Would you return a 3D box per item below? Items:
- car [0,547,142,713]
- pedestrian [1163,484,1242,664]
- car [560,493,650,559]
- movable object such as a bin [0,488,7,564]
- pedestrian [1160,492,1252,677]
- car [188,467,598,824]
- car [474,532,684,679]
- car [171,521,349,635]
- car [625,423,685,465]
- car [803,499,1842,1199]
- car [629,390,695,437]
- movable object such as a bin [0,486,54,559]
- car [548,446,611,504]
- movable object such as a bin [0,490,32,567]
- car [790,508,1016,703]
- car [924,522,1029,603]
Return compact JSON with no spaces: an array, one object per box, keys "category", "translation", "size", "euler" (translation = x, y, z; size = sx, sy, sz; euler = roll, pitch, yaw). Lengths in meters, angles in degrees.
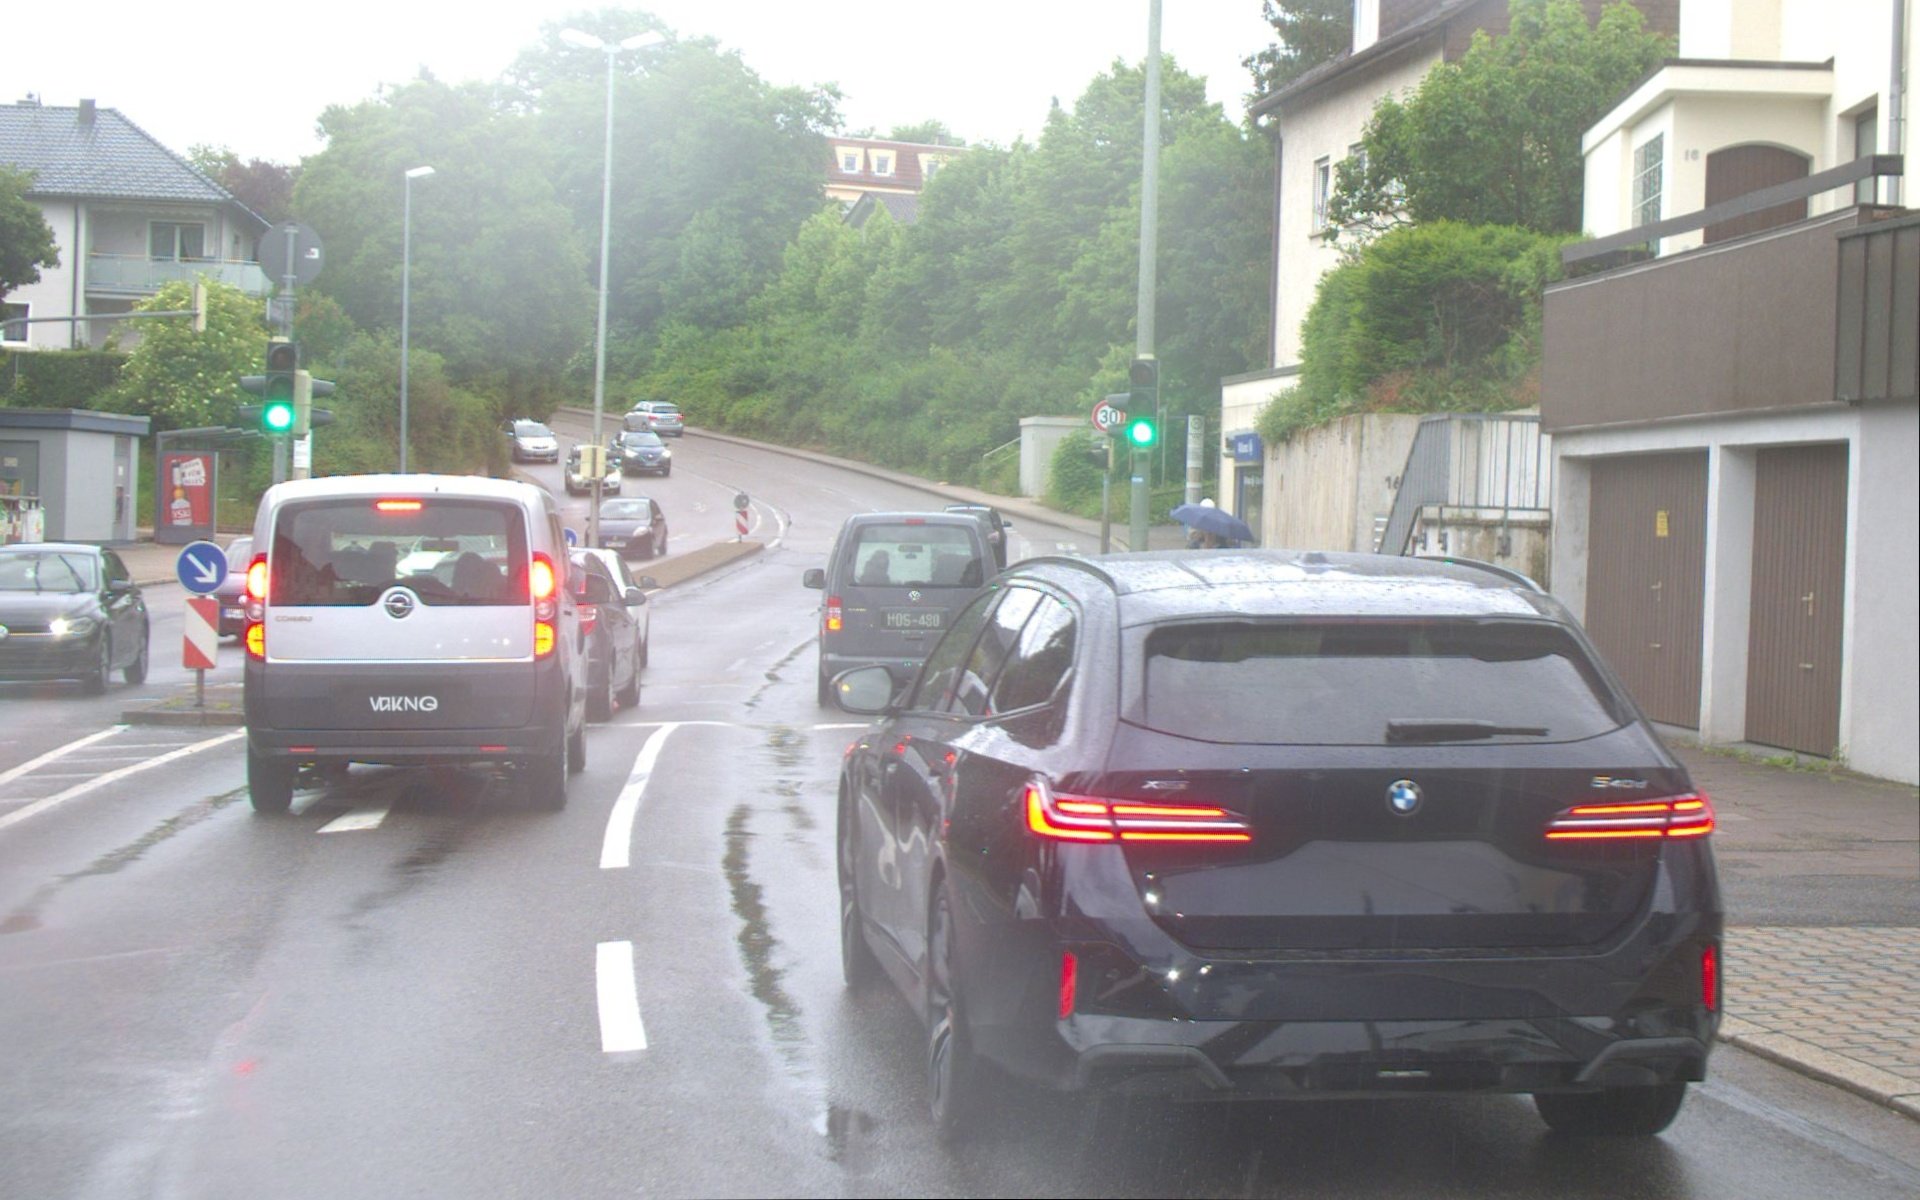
[{"category":"car","translation":[-9.098,0.245,33.323],"size":[1.711,1.497,4.001],"euler":[1,1,-5]},{"category":"pedestrian","translation":[2.745,-0.292,38.972],"size":[0.797,2.007,0.734],"euler":[1,1,-1]},{"category":"car","translation":[-8.780,-1.821,85.276],"size":[1.993,1.568,4.000],"euler":[1,0,-3]},{"category":"movable object such as a bin","translation":[-20.901,-1.510,70.776],"size":[2.058,1.563,1.581],"euler":[1,3,4]},{"category":"pedestrian","translation":[2.401,-0.154,33.620],"size":[0.793,1.774,1.011],"euler":[0,1,-1]},{"category":"car","translation":[-3.220,0.193,20.385],"size":[1.951,1.864,4.747],"euler":[0,1,-4]},{"category":"car","translation":[-4.189,0.018,38.444],"size":[1.908,1.523,4.652],"euler":[1,1,-1]},{"category":"car","translation":[-9.570,-0.332,47.250],"size":[1.853,1.459,4.001],"euler":[1,1,-4]},{"category":"car","translation":[-11.816,-6.035,133.093],"size":[1.840,1.546,4.385],"euler":[0,1,-12]},{"category":"car","translation":[0.733,0.593,10.091],"size":[1.993,1.581,4.664],"euler":[2,0,-7]},{"category":"car","translation":[-13.674,-8.526,157.670],"size":[1.993,2.007,4.001],"euler":[0,1,-21]},{"category":"movable object such as a bin","translation":[-20.688,-1.667,73.838],"size":[2.058,1.509,1.344],"euler":[1,3,4]},{"category":"car","translation":[-13.650,-4.468,123.165],"size":[1.993,2.007,4.001],"euler":[0,1,-10]},{"category":"movable object such as a bin","translation":[-20.812,-1.520,72.374],"size":[2.058,1.563,1.581],"euler":[1,3,4]},{"category":"car","translation":[-0.609,0.015,32.758],"size":[1.993,1.742,4.001],"euler":[0,1,-3]},{"category":"car","translation":[0.347,-0.880,78.962],"size":[1.851,1.656,4.001],"euler":[1,2,-7]}]
